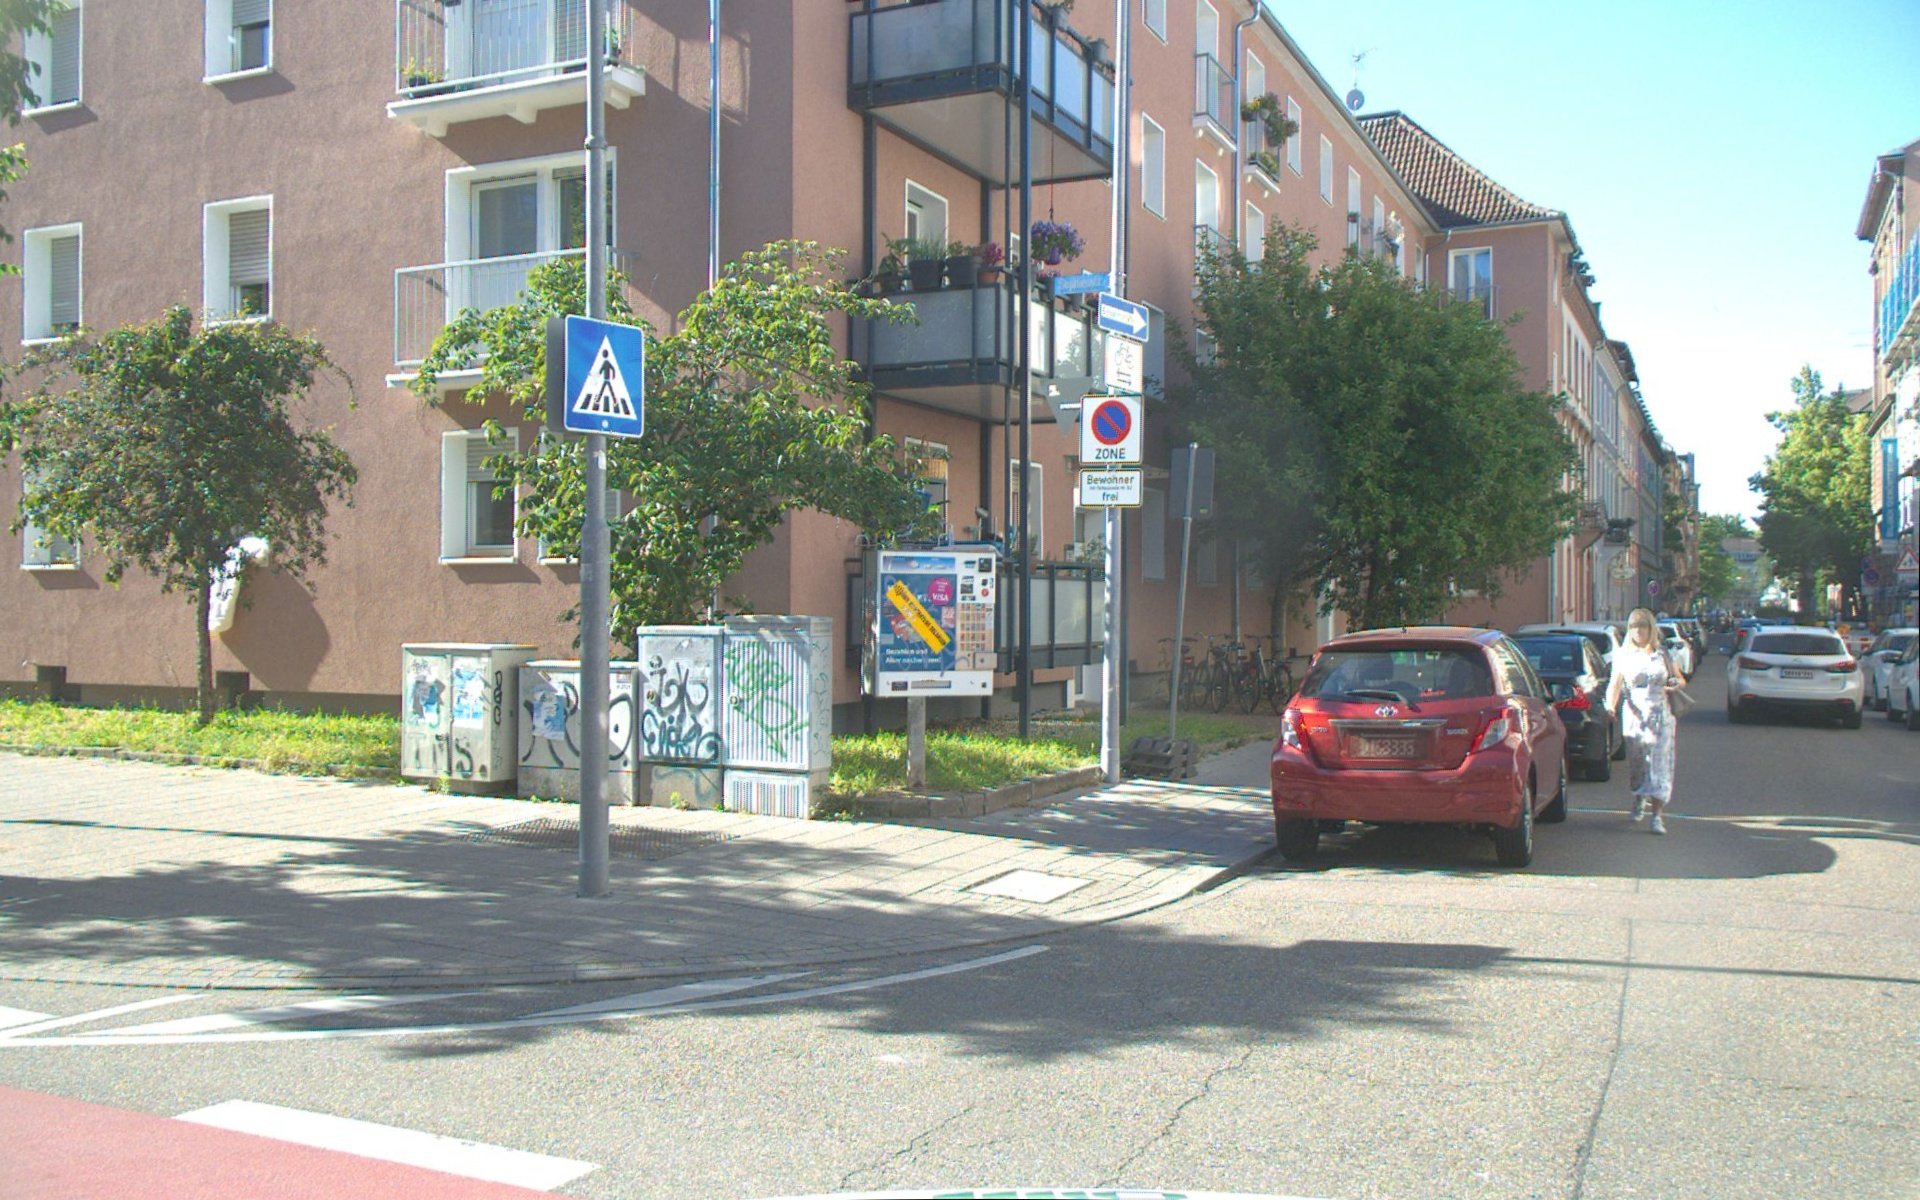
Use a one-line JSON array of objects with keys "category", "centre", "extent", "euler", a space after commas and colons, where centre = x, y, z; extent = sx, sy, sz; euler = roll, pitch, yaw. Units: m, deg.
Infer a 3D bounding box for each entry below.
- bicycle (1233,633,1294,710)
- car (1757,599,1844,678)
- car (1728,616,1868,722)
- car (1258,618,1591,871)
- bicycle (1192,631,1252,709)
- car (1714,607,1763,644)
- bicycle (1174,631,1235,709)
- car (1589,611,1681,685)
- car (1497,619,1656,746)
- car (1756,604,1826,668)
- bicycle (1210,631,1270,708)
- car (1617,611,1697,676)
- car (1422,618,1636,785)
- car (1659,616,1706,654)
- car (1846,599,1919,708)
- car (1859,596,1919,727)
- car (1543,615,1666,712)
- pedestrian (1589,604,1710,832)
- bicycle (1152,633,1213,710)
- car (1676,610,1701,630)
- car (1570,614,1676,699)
[{"category": "bicycle", "centre": [4.444, 1.037, 24.272], "extent": [0.249, 1.090, 1.210], "euler": [1, 0, -24]}, {"category": "car", "centre": [21.250, 0.939, 41.845], "extent": [1.858, 1.892, 3.990], "euler": [0, -1, 27]}, {"category": "car", "centre": [12.908, 1.010, 25.551], "extent": [1.795, 1.482, 3.958], "euler": [0, -1, 26]}, {"category": "car", "centre": [3.531, 0.911, 12.112], "extent": [1.652, 1.526, 3.802], "euler": [-1, -1, 26]}, {"category": "bicycle", "centre": [3.824, 1.013, 24.188], "extent": [0.249, 1.089, 1.207], "euler": [1, 0, -24]}, {"category": "car", "centre": [31.677, 1.024, 67.264], "extent": [1.726, 1.435, 4.323], "euler": [0, 0, 26]}, {"category": "bicycle", "centre": [3.549, 1.005, 24.066], "extent": [0.262, 1.091, 1.207], "euler": [1, 0, -24]}, {"category": "car", "centre": [14.987, 1.018, 36.637], "extent": [1.621, 1.526, 3.759], "euler": [0, 0, 26]}, {"category": "car", "centre": [8.341, 1.034, 22.209], "extent": [1.621, 1.526, 3.759], "euler": [0, 0, 26]}, {"category": "car", "centre": [25.595, 1.074, 50.960], "extent": [1.858, 1.892, 3.990], "euler": [0, 0, 26]}, {"category": "bicycle", "centre": [4.112, 1.005, 24.313], "extent": [0.249, 1.090, 1.207], "euler": [1, 0, -24]}, {"category": "car", "centre": [17.440, 1.048, 41.328], "extent": [1.621, 1.526, 3.759], "euler": [0, 0, 26]}, {"category": "car", "centre": [6.110, 0.959, 17.485], "extent": [1.621, 1.526, 4.075], "euler": [0, 0, 26]}, {"category": "car", "centre": [30.279, 1.443, 69.311], "extent": [1.621, 1.526, 3.759], "euler": [0, 0, 26]}, {"category": "car", "centre": [17.424, 0.945, 30.414], "extent": [1.858, 1.892, 3.990], "euler": [0, 0, 26]}, {"category": "car", "centre": [15.004, 0.909, 25.505], "extent": [1.858, 1.892, 3.990], "euler": [0, 0, 26]}, {"category": "car", "centre": [11.021, 1.025, 28.168], "extent": [1.621, 1.526, 3.759], "euler": [0, 0, 26]}, {"category": "pedestrian", "centre": [5.155, 0.854, 12.406], "extent": [0.717, 1.642, 0.817], "euler": [0, -1, 15]}, {"category": "bicycle", "centre": [3.214, 1.021, 23.940], "extent": [0.286, 1.053, 1.207], "euler": [1, 0, -24]}, {"category": "car", "centre": [56.847, 1.559, 128.984], "extent": [1.621, 1.526, 3.759], "euler": [0, 0, 26]}, {"category": "car", "centre": [12.839, 1.036, 31.919], "extent": [1.621, 1.526, 3.759], "euler": [0, 0, 26]}]
